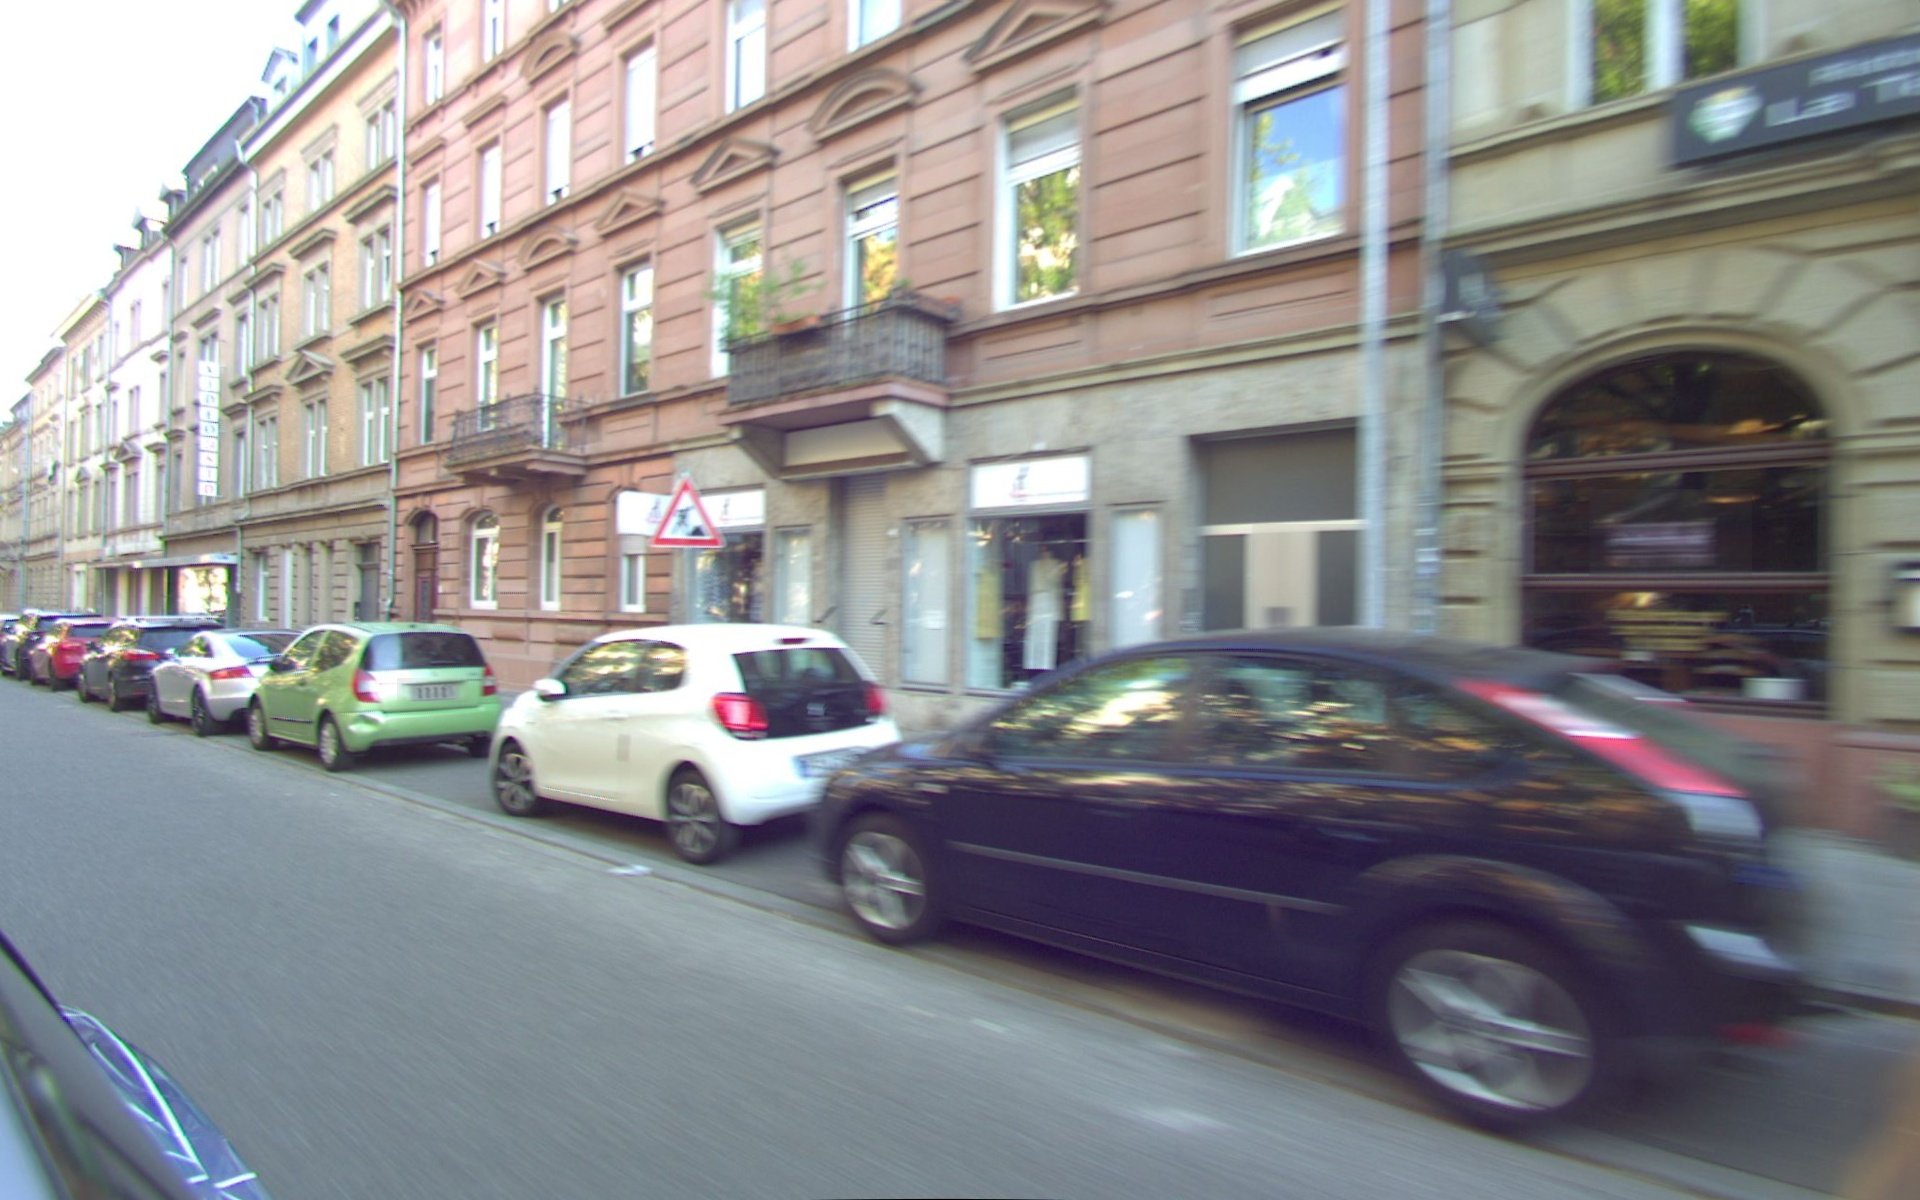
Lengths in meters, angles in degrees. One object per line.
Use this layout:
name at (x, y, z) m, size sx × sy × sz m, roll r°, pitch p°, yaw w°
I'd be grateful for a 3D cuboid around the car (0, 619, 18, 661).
car at (-35.361, 1.415, 36.160) m, size 4.537 × 1.455 × 1.867 m, roll -1°, pitch -2°, yaw 39°

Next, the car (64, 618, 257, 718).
car at (-13.878, 1.068, 17.477) m, size 4.420 × 1.488 × 1.802 m, roll -1°, pitch -1°, yaw 41°

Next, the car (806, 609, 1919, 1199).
car at (1.306, 0.818, 4.286) m, size 3.997 × 1.484 × 1.631 m, roll -1°, pitch 1°, yaw 40°

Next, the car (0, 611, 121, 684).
car at (-21.982, 1.089, 24.547) m, size 4.311 × 1.612 × 1.802 m, roll -1°, pitch -1°, yaw 41°

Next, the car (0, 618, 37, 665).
car at (-31.982, 1.346, 33.366) m, size 4.084 × 1.484 × 1.739 m, roll -1°, pitch -2°, yaw 40°

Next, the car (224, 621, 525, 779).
car at (-6.617, 0.975, 11.276) m, size 3.957 × 1.450 × 1.687 m, roll -1°, pitch -2°, yaw 41°

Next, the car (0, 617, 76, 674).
car at (-26.502, 1.247, 28.508) m, size 4.487 × 1.484 × 1.843 m, roll -1°, pitch -2°, yaw 42°

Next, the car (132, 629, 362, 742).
car at (-10.086, 1.092, 14.214) m, size 4.099 × 1.333 × 1.687 m, roll -1°, pitch -2°, yaw 41°

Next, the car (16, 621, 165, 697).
car at (-18.709, 1.179, 21.723) m, size 4.311 × 1.436 × 1.802 m, roll -1°, pitch -1°, yaw 41°

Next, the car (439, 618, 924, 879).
car at (-2.278, 0.890, 7.686) m, size 3.997 × 1.484 × 1.566 m, roll -1°, pitch -2°, yaw 40°
